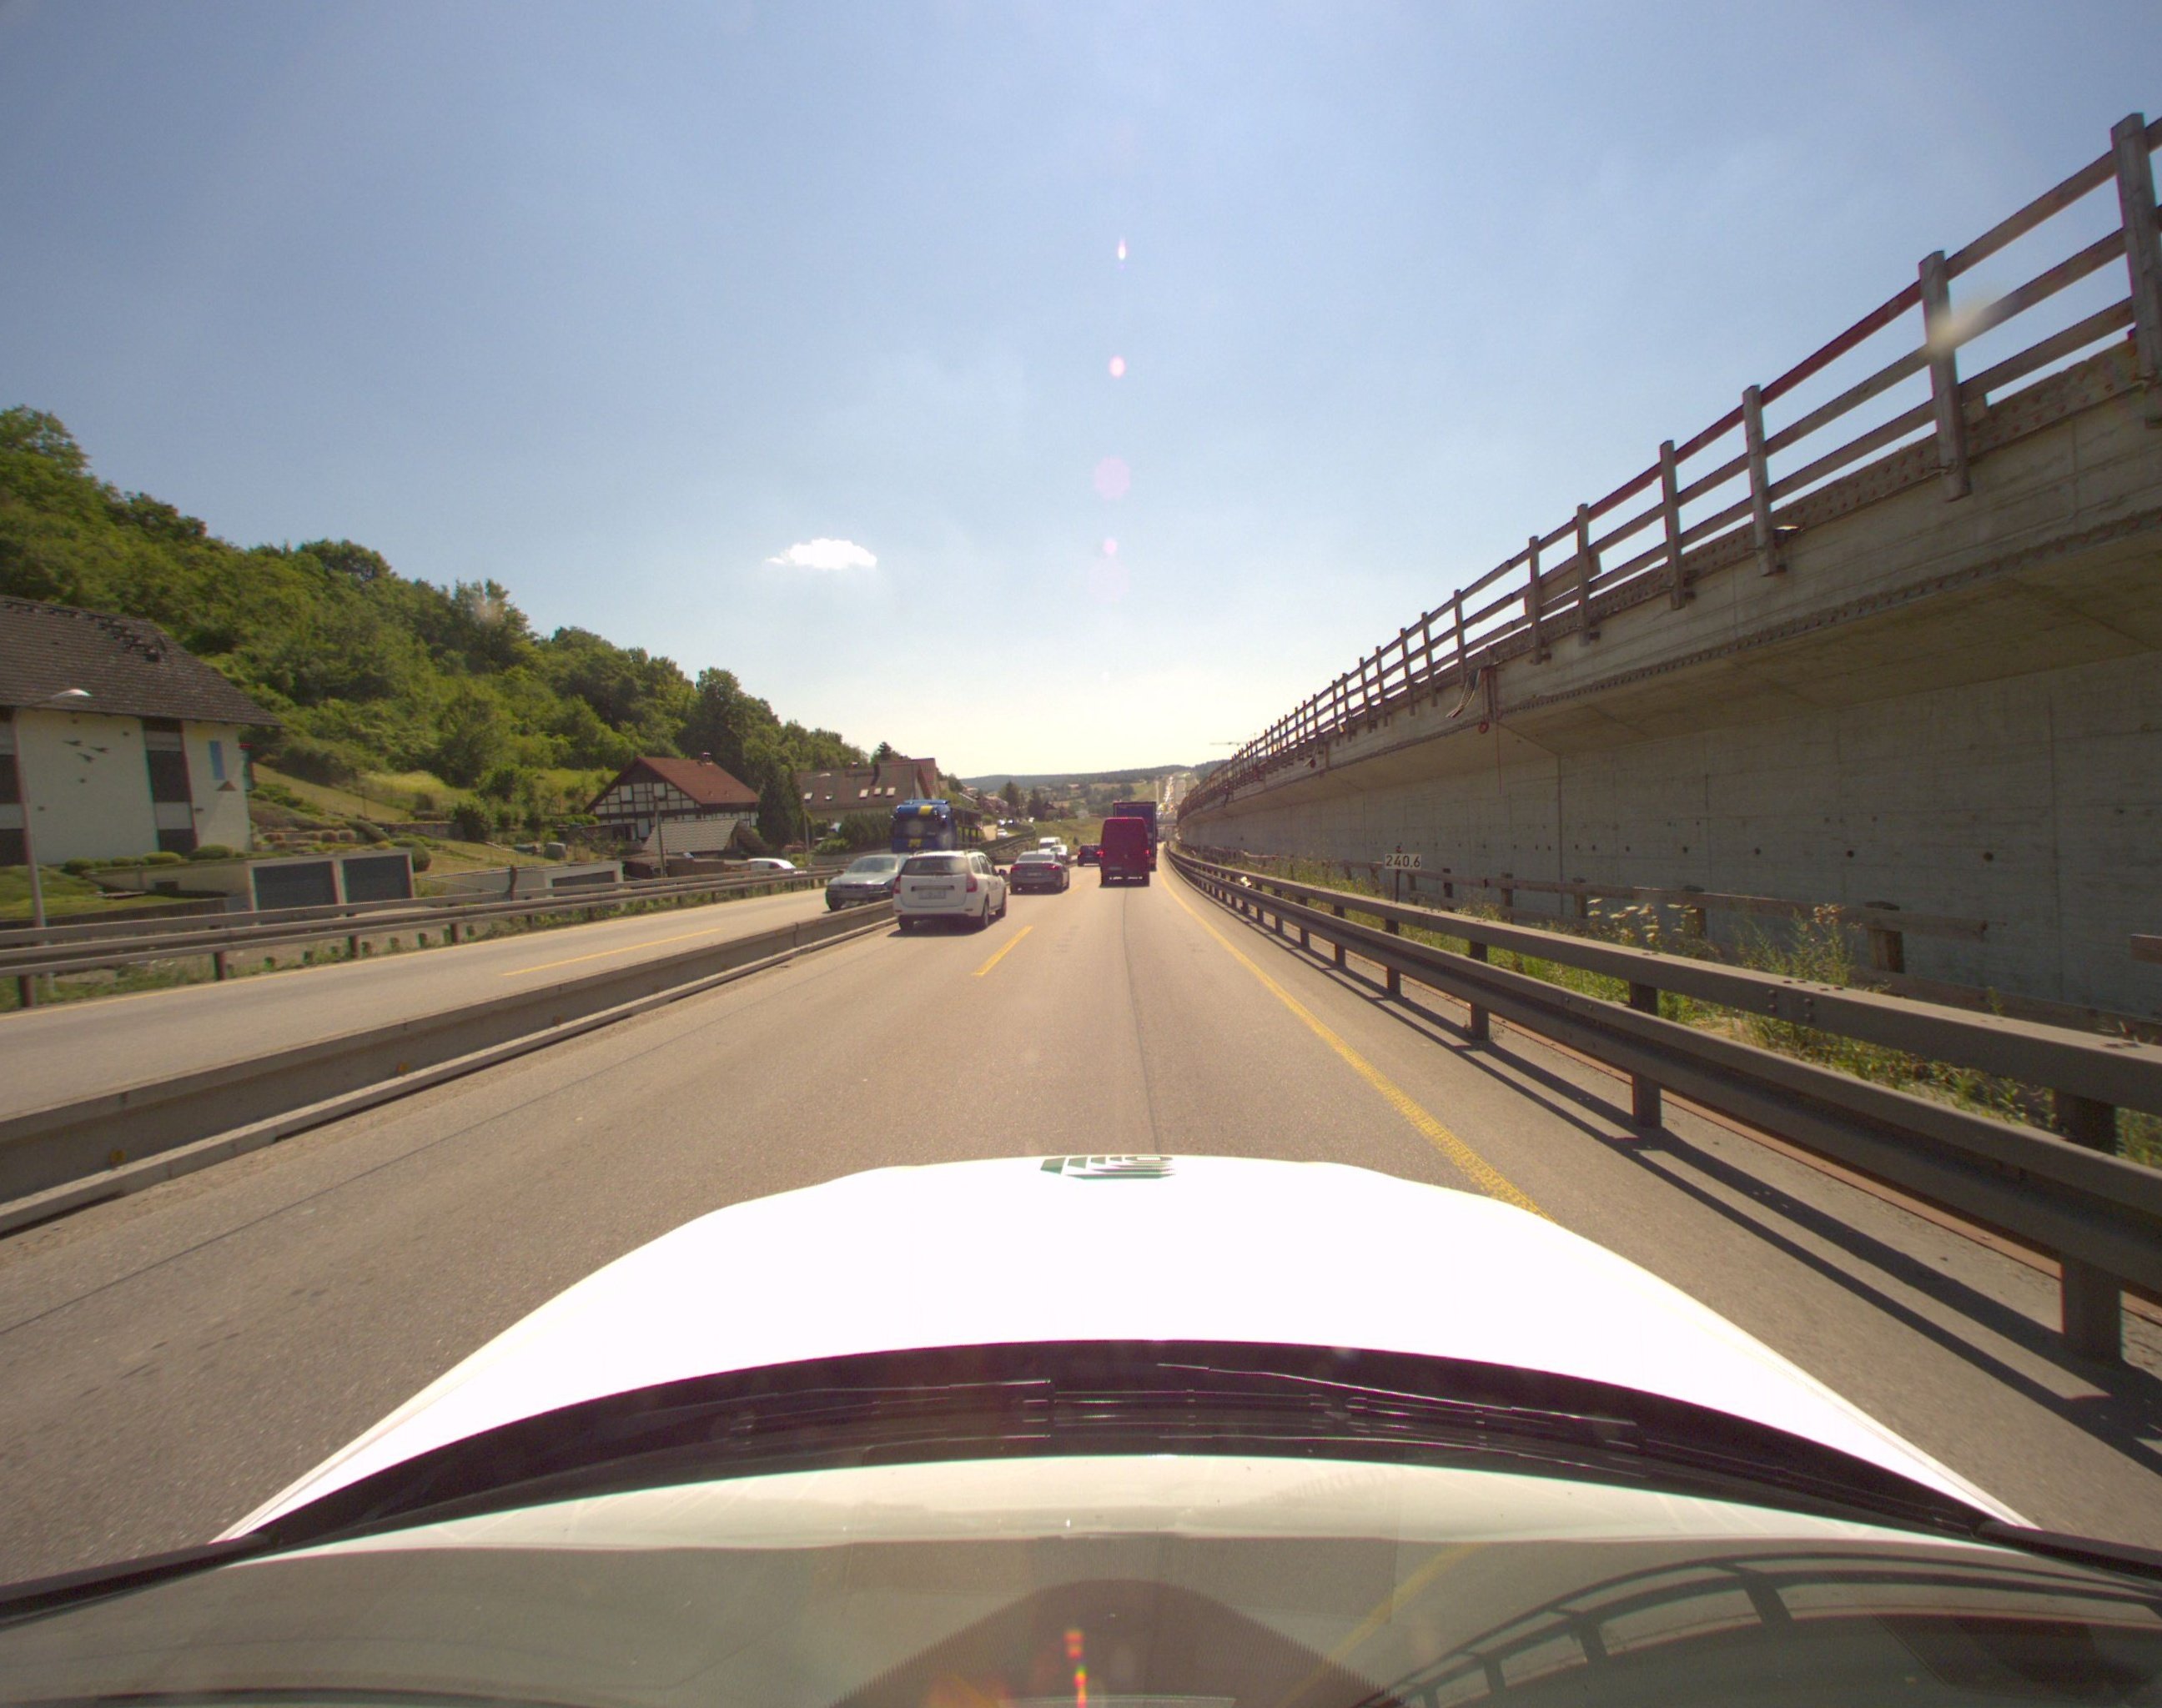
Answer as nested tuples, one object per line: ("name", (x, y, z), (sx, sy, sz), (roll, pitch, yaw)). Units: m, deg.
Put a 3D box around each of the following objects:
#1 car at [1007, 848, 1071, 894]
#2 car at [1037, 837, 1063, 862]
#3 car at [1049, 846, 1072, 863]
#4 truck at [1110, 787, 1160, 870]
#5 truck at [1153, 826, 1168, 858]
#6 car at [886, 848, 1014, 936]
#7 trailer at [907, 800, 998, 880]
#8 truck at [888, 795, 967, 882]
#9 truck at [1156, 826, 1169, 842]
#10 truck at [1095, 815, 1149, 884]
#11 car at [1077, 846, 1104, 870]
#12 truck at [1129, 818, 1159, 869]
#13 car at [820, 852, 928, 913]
("car", (-1.393, 0.577, 28.628), (1.787, 1.485, 4.053), (0, -1, 3))
("car", (-3.311, -0.458, 88.916), (1.983, 2.507, 5.525), (-2, -1, 6))
("car", (-1.756, 0.027, 70.858), (1.555, 1.464, 4.023), (-2, 0, 4))
("truck", (3.457, -1.411, 52.760), (2.774, 4.816, 9.692), (-2, -1, 3))
("truck", (11.434, -1.673, 117.338), (1.983, 4.381, 4.007), (-2, -1, 7))
("car", (-2.563, 0.709, 16.952), (1.645, 1.483, 4.270), (-4, -1, 3))
("trailer", (-7.063, -0.666, 46.802), (2.497, 3.965, 11.411), (-2, -1, 4))
("truck", (-7.532, -0.676, 40.545), (2.497, 3.965, 5.181), (-2, -1, 4))
("truck", (24.836, -5.981, 247.894), (3.449, 4.381, 8.572), (-2, -1, 7))
("truck", (1.709, -0.151, 33.151), (1.985, 2.579, 4.004), (-2, -1, 4))
("car", (0.739, 0.319, 60.453), (1.802, 1.608, 3.722), (-2, -1, 4))
("truck", (6.366, -0.914, 83.723), (2.774, 4.816, 9.692), (-2, -1, 3))
("car", (-5.539, 0.701, 22.392), (1.538, 1.464, 4.632), (-1, 0, 3))
